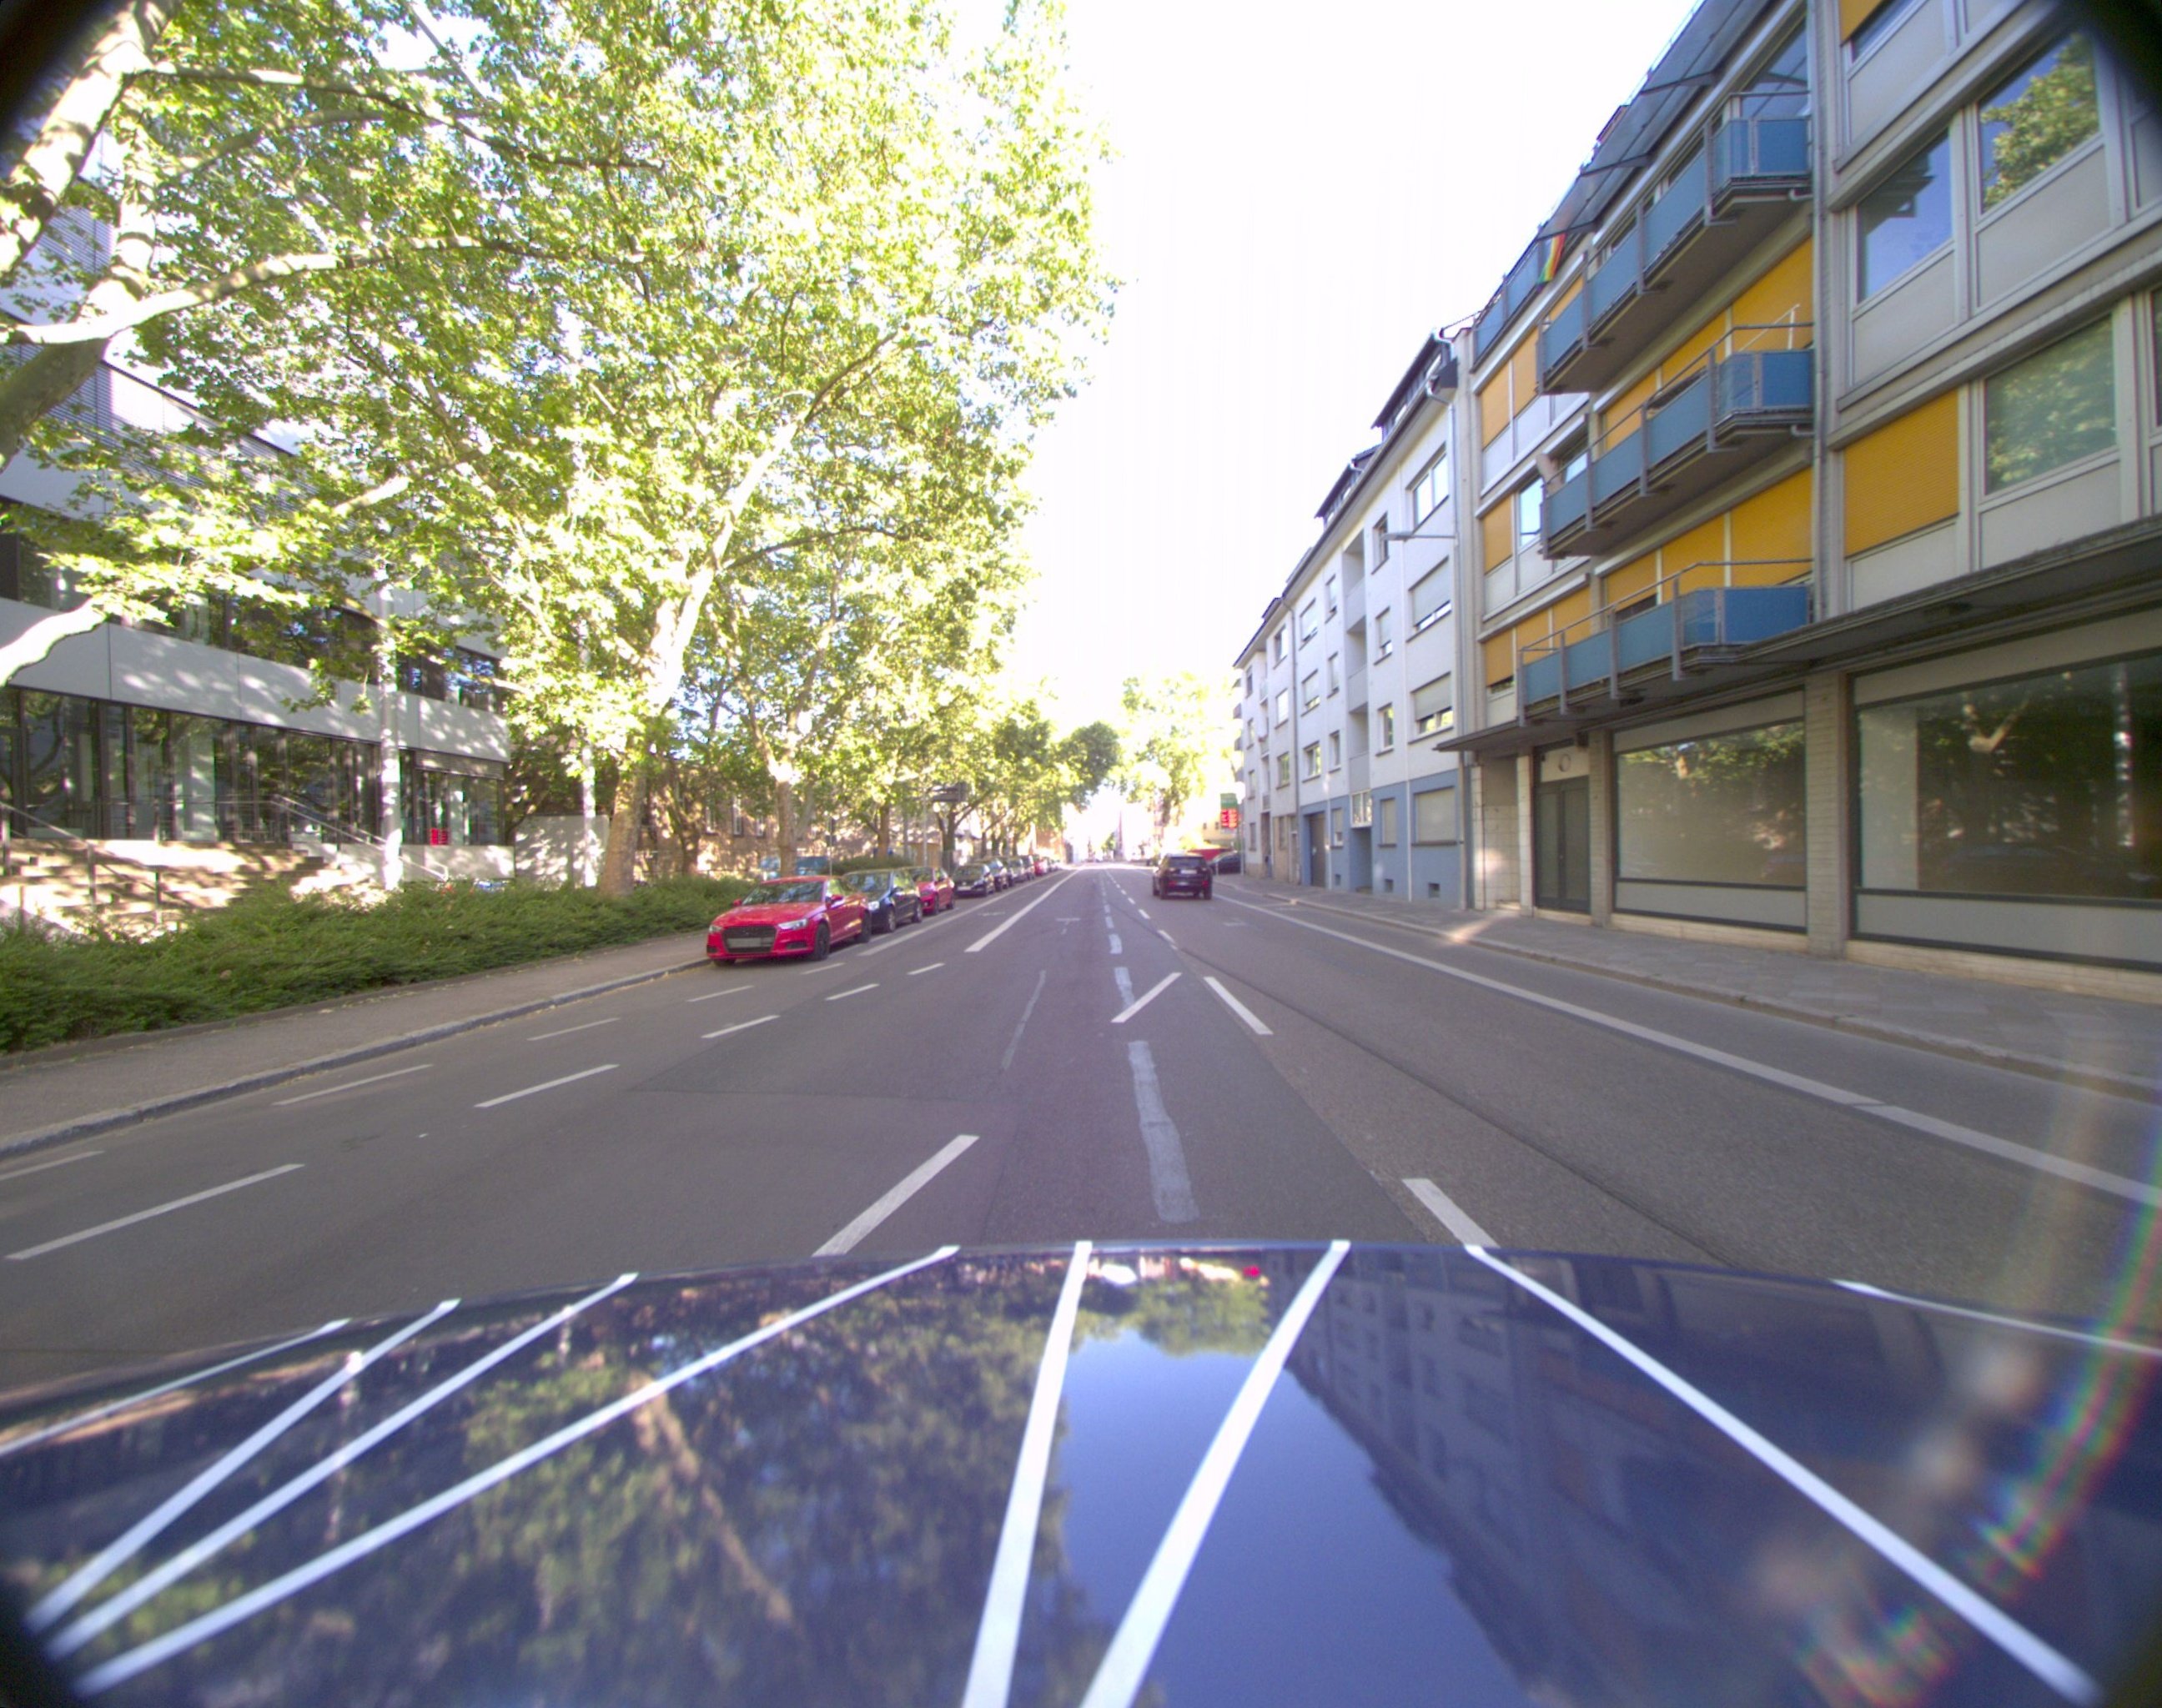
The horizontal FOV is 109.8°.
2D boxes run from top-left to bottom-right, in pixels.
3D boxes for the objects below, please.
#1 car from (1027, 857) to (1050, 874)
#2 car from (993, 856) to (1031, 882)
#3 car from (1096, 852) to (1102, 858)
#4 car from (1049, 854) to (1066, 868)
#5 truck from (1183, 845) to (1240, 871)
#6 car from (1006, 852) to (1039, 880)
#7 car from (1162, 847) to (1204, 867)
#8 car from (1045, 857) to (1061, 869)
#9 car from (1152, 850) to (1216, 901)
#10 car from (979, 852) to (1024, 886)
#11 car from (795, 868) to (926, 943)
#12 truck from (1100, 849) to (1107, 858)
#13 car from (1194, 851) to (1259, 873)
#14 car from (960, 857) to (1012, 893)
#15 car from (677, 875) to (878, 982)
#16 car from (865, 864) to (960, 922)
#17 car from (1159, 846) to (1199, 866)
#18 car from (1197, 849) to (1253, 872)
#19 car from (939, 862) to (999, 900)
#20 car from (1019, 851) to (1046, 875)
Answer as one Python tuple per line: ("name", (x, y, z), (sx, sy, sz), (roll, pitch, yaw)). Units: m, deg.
("car", (-4.033, 1.082, 72.000), (1.824, 1.466, 3.999), (-2, 1, 1))
("car", (-4.573, 0.976, 50.855), (1.998, 1.557, 4.142), (-2, 1, 1))
("car", (6.171, 0.201, 259.457), (1.998, 2.002, 3.999), (-2, 1, 1))
("car", (-3.181, 0.909, 103.011), (1.998, 1.682, 3.999), (-2, 1, 1))
("truck", (10.290, 0.318, 60.220), (4.092, 1.913, 2.000), (-2, 1, 0))
("car", (-4.256, 0.843, 55.654), (1.998, 1.838, 3.999), (-2, 1, 1))
("car", (10.867, 0.283, 80.915), (4.236, 1.945, 2.000), (-2, 1, 3))
("car", (-3.343, 1.072, 92.740), (1.693, 1.364, 3.999), (-2, 1, 1))
("car", (3.664, 0.715, 27.683), (1.847, 1.668, 3.999), (-1, 1, 1))
("car", (-4.604, 0.837, 44.519), (1.998, 1.777, 4.572), (-2, 1, 1))
("car", (-5.169, 1.165, 18.353), (1.998, 1.452, 3.644), (-2, 1, 1))
("truck", (6.883, -0.287, 233.826), (1.998, 2.653, 5.314), (-2, 1, 0))
("car", (10.459, 0.570, 54.785), (4.324, 1.398, 1.658), (-2, 1, 0))
("car", (-4.681, 1.004, 38.120), (1.998, 1.592, 4.142), (-2, 1, 1))
("car", (-5.185, 1.193, 13.640), (1.907, 1.417, 3.999), (-2, 1, 1))
("car", (-5.126, 1.146, 23.669), (1.998, 1.490, 3.828), (-2, 1, 1))
("car", (10.953, 0.217, 85.316), (4.236, 2.025, 2.000), (-2, 1, 3))
("car", (10.805, 0.448, 57.117), (3.810, 1.563, 1.658), (-2, 1, 0))
("car", (-4.835, 1.129, 33.182), (1.998, 1.447, 3.589), (-2, 1, 1))
("car", (-4.221, 0.732, 66.316), (1.998, 1.960, 3.999), (-2, 1, 1))
